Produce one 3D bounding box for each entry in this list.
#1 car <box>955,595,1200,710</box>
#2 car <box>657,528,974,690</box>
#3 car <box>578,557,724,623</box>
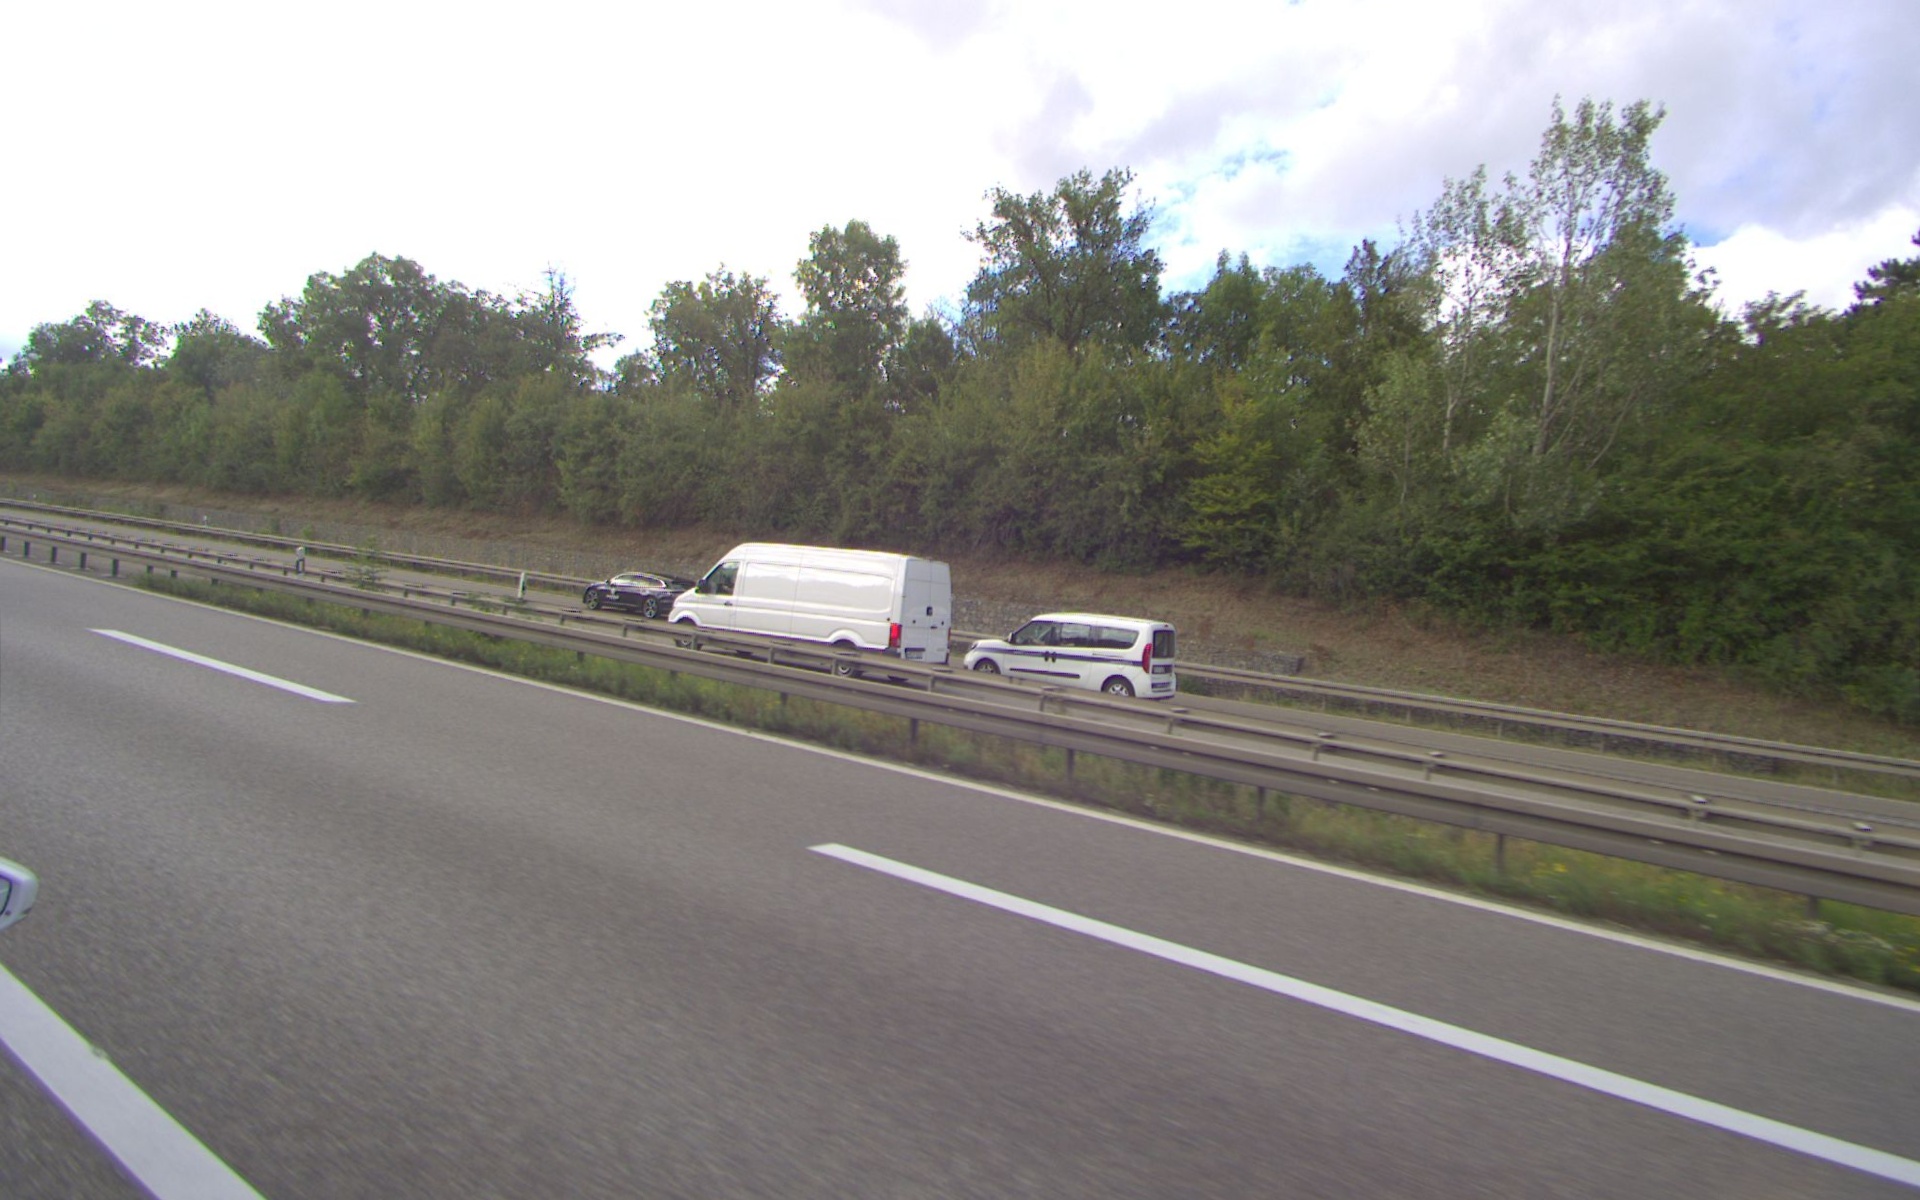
[{"bbox_3d":[2.438,1.083,21.423,4.685,1.772,1.846,7,-1,32],"label":"car"},{"bbox_3d":[-3.184,0.114,21.229,6.631,2.586,2.072,7,1,32],"label":"car"},{"bbox_3d":[-10.238,-0.347,33.234,4.684,1.623,1.844,7,2,31],"label":"car"}]
